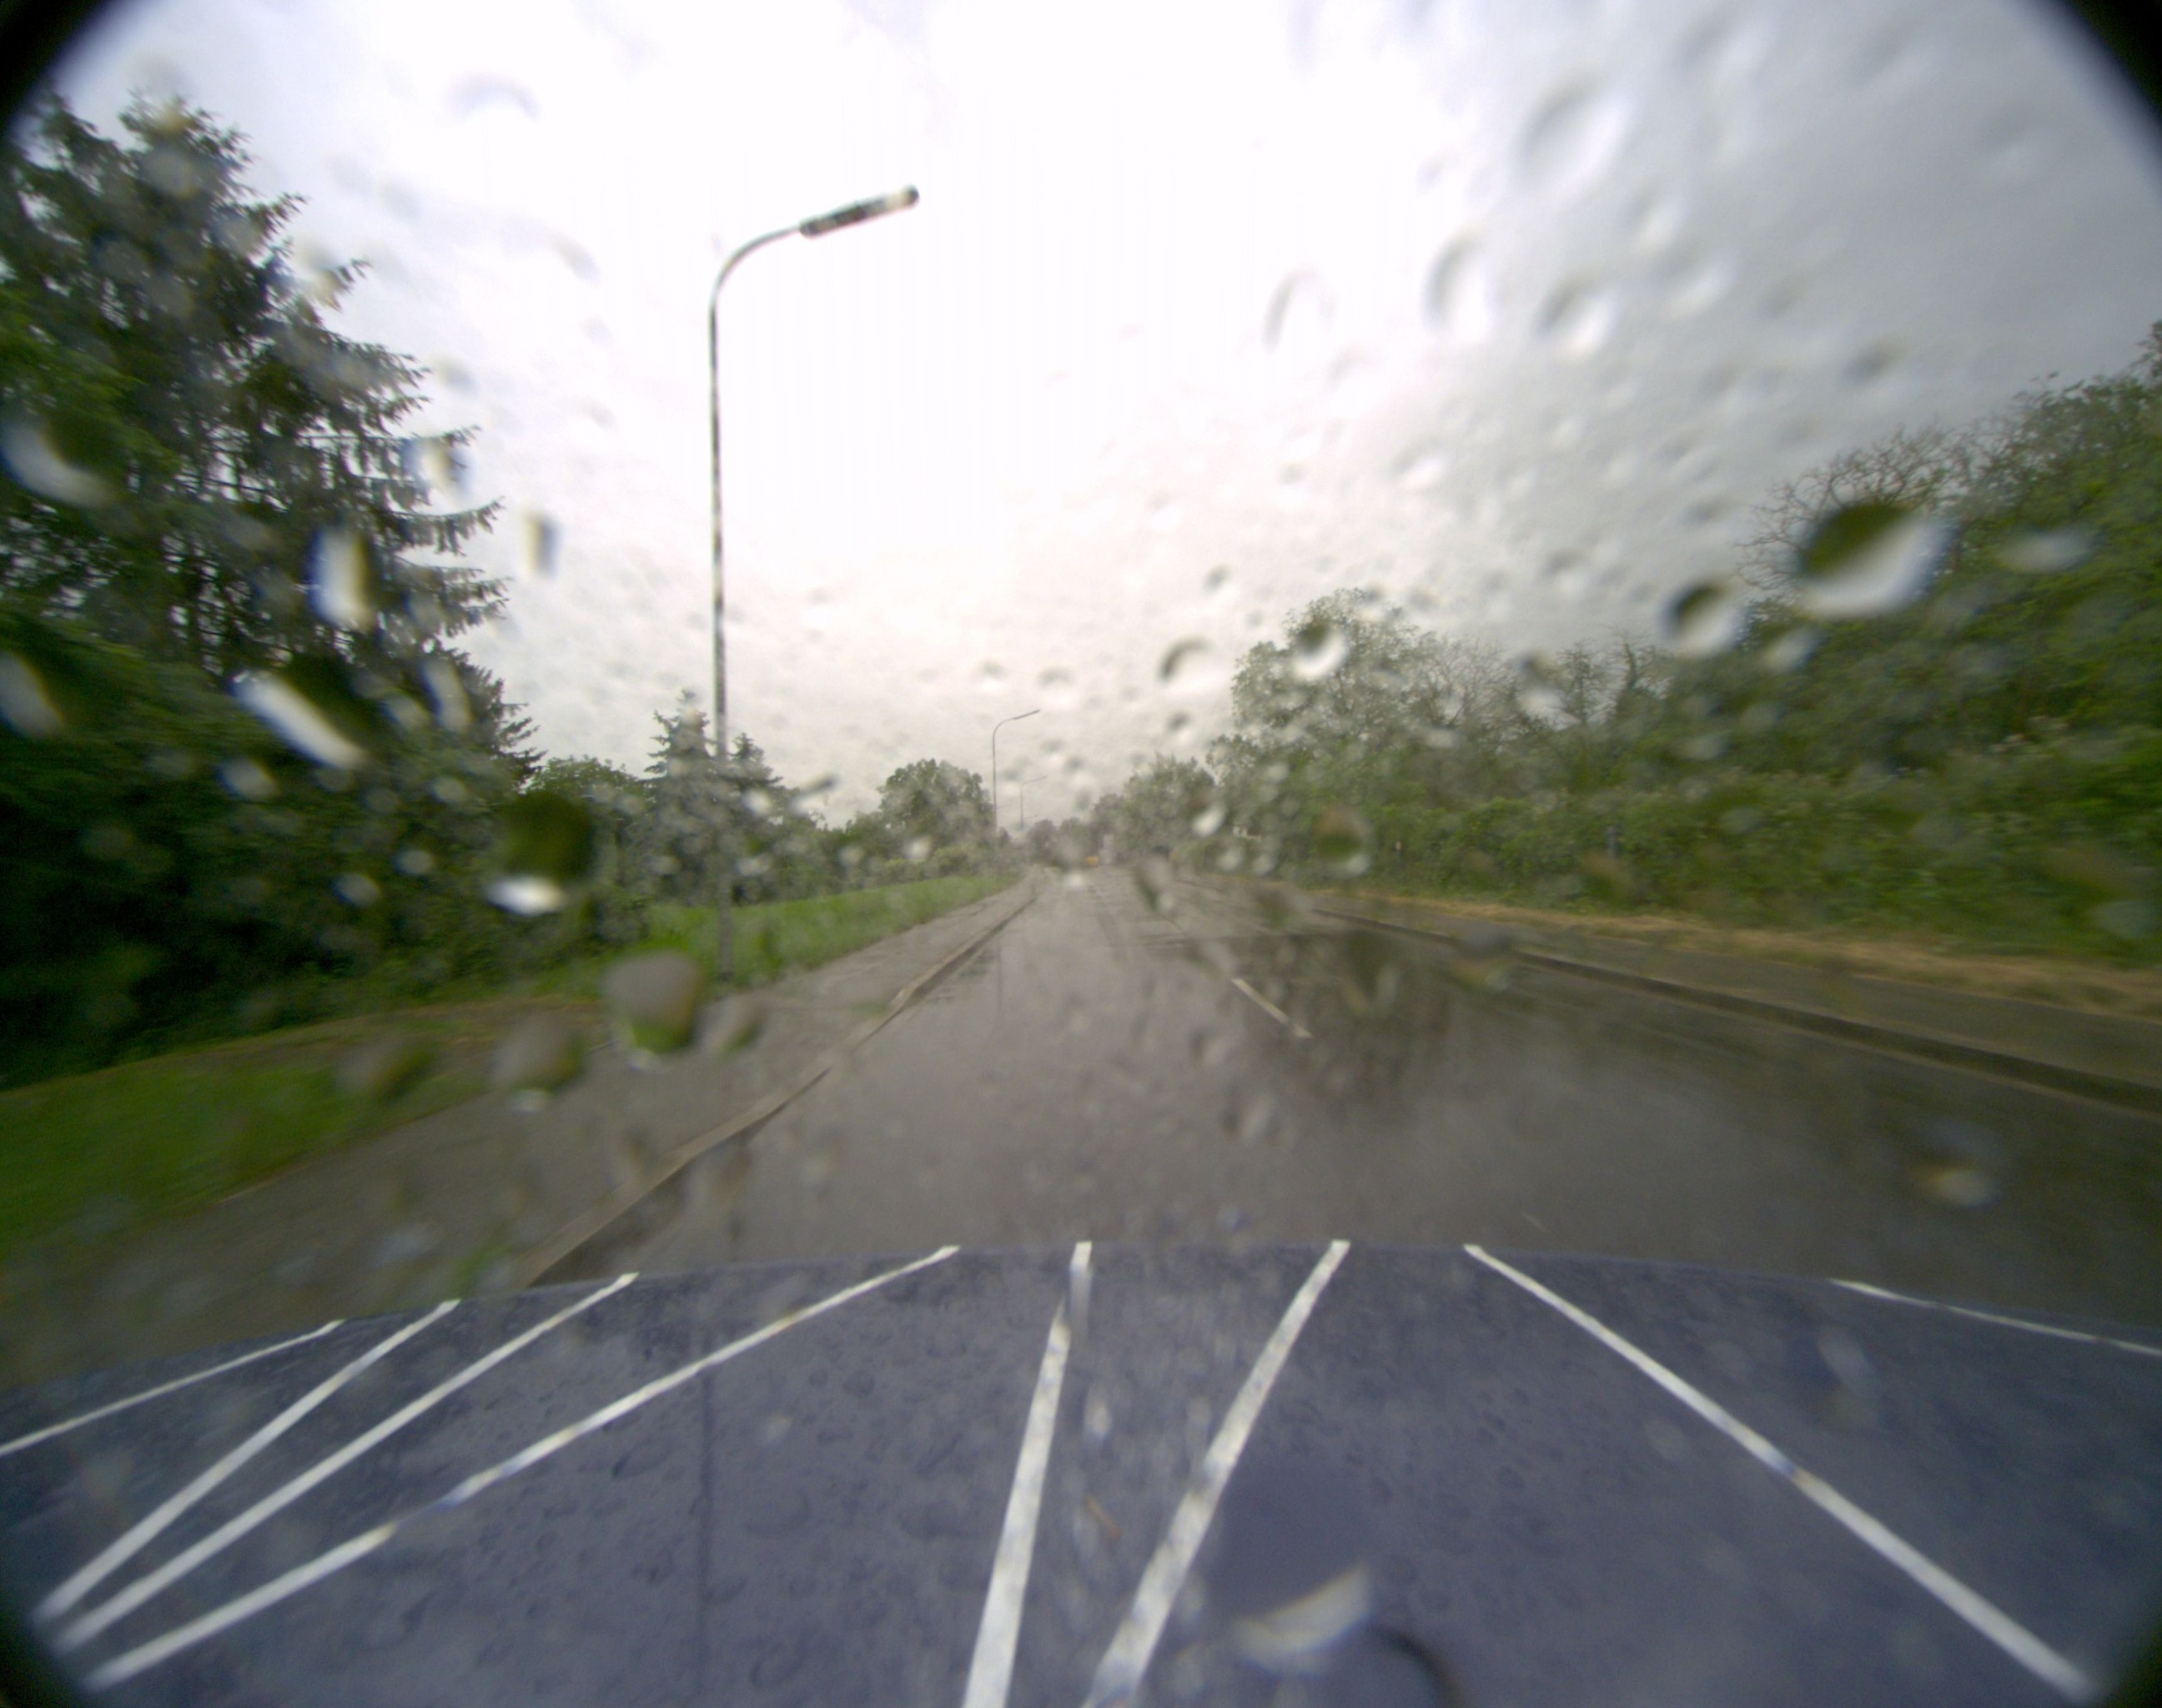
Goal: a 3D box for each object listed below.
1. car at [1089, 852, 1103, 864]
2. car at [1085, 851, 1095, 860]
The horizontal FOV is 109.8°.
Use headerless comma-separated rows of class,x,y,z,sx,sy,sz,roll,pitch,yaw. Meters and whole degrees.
car,2.476,0.708,129.129,1.999,1.865,4.468,-3,0,-3
car,1.729,0.311,146.649,1.830,1.543,3.615,-5,0,-1
